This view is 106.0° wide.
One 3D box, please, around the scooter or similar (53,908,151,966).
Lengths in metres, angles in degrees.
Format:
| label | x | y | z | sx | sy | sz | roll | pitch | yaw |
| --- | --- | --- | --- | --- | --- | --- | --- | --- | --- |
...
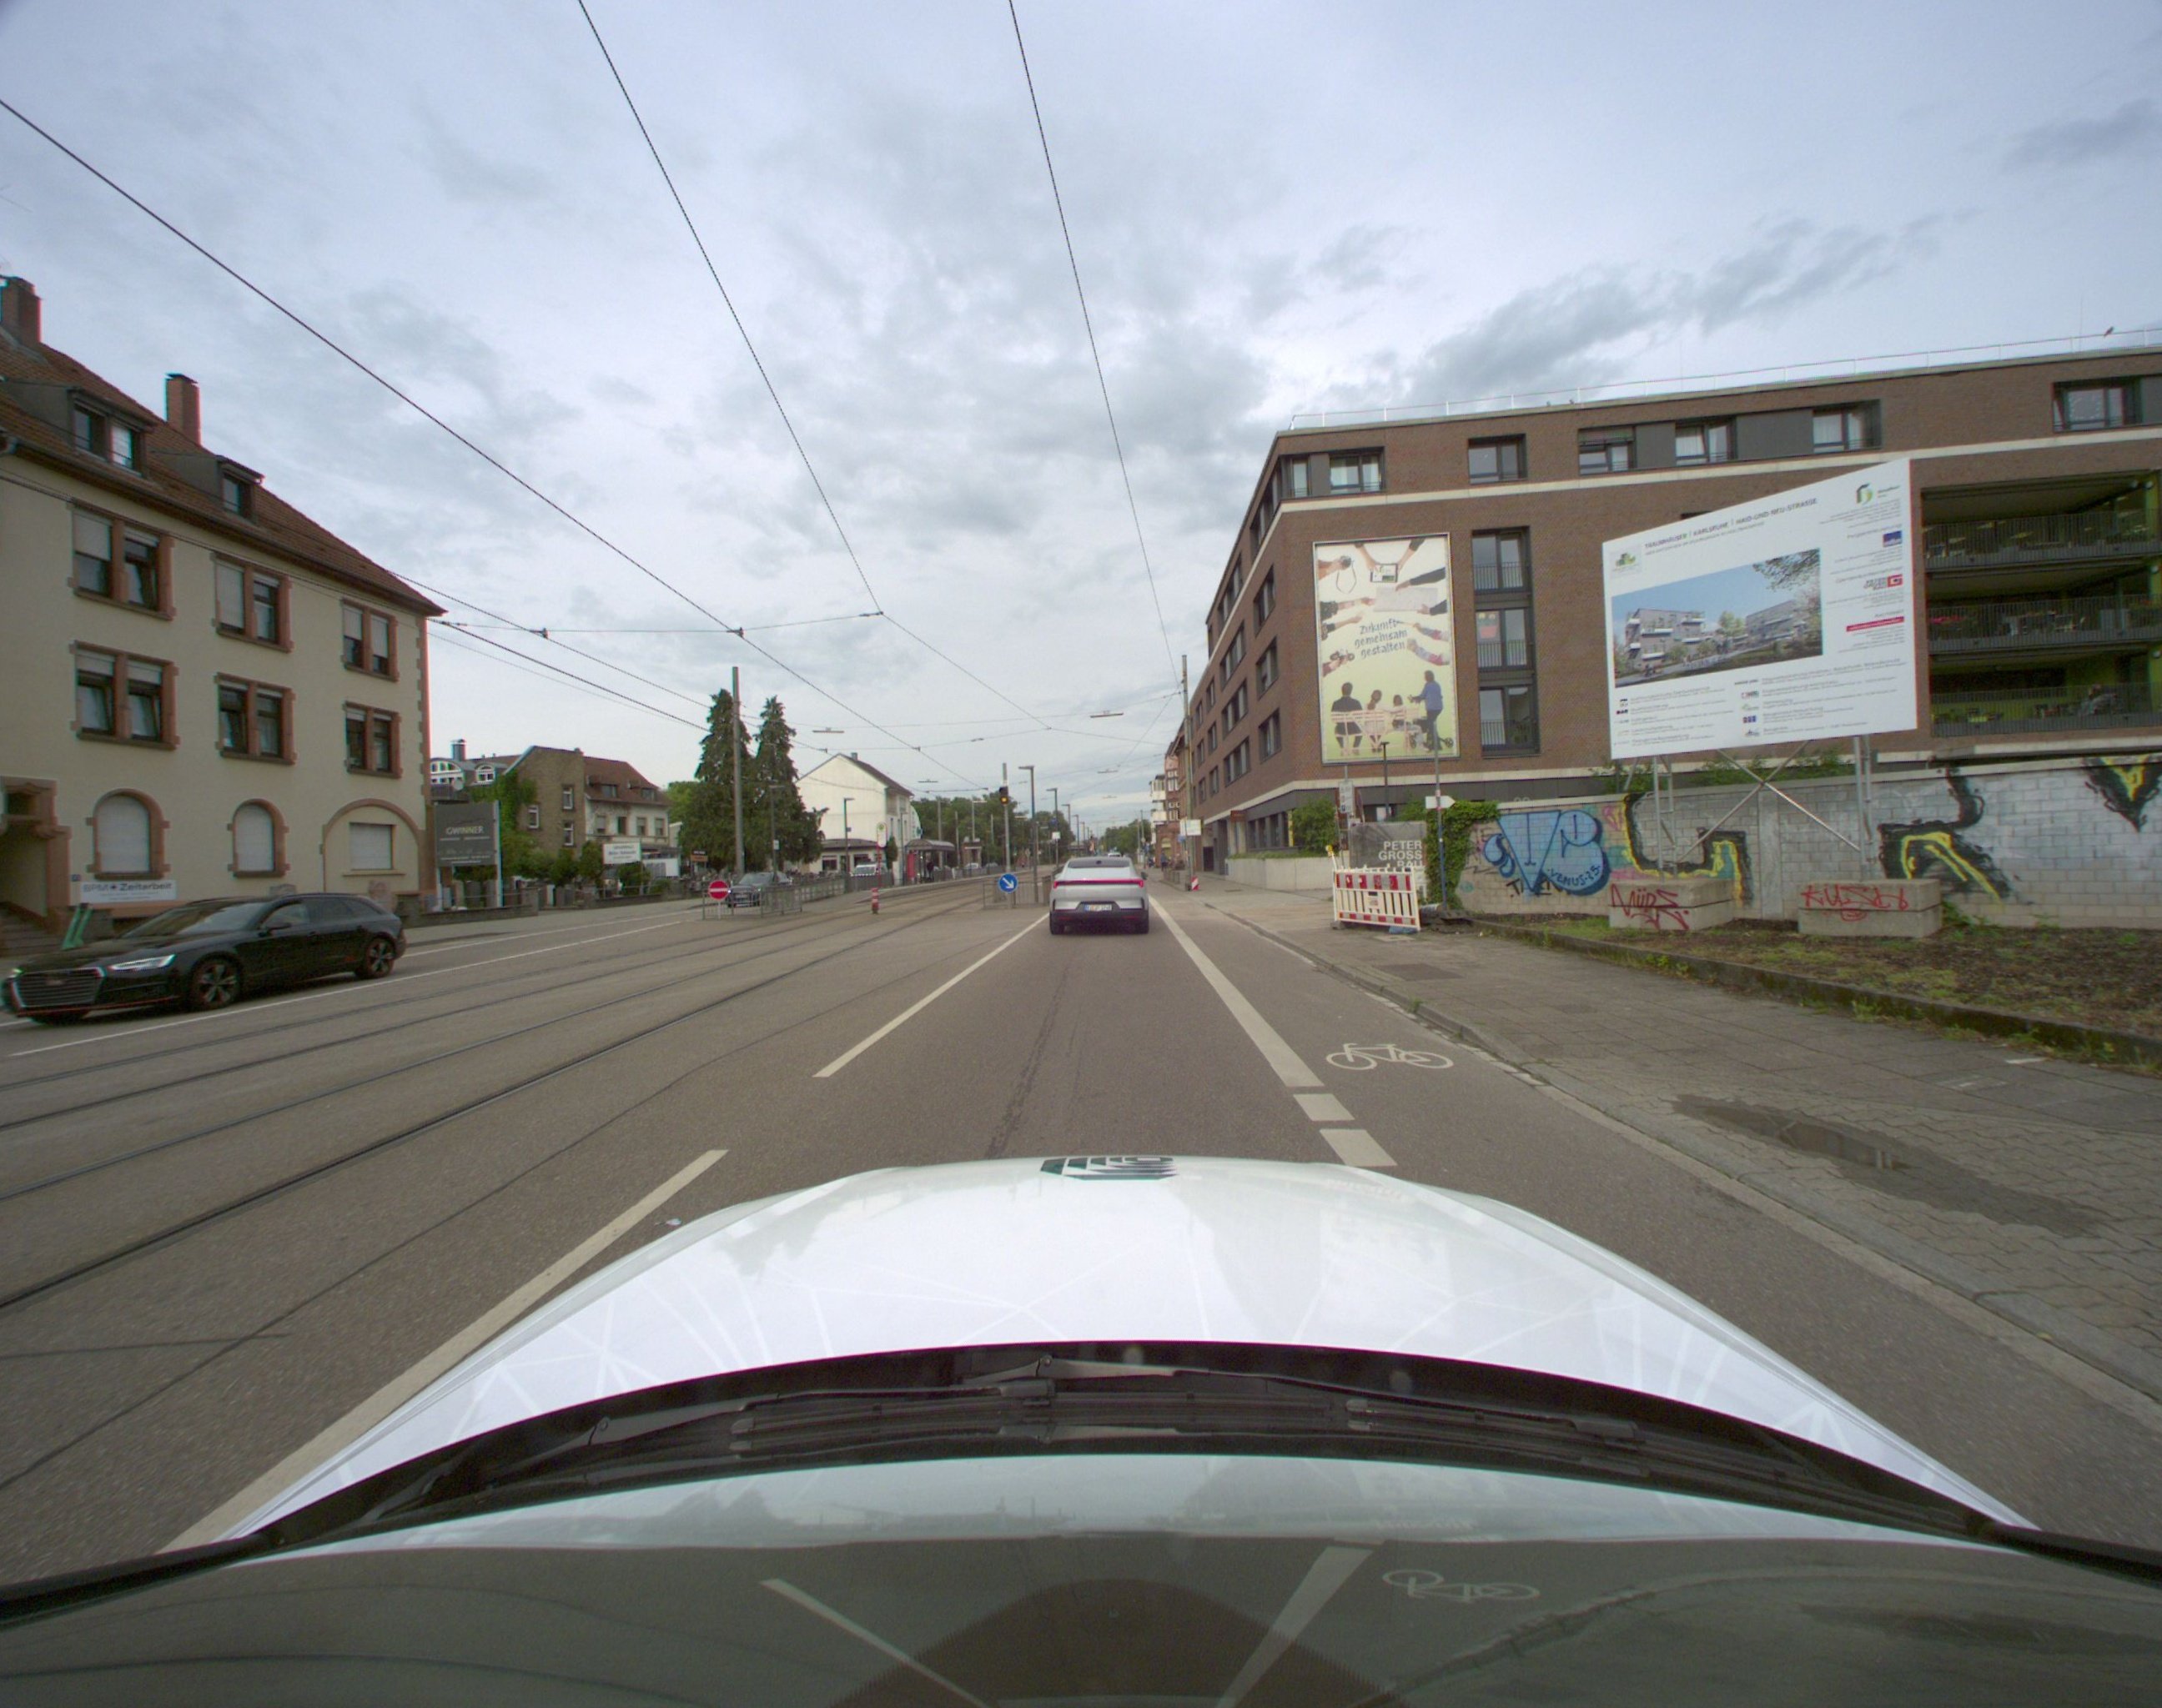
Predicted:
| label | x | y | z | sx | sy | sz | roll | pitch | yaw |
| --- | --- | --- | --- | --- | --- | --- | --- | --- | --- |
| scooter or similar | -20.258 | 1.699 | 16.874 | 1.182 | 1.102 | 0.522 | -1 | -1 | -32 |

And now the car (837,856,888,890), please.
| label | x | y | z | sx | sy | sz | roll | pitch | yaw |
| --- | --- | --- | --- | --- | --- | --- | --- | --- | --- |
| car | -13.960 | 1.175 | 52.255 | 1.878 | 1.989 | 4.525 | -3 | -1 | 1 |

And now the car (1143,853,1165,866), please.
| label | x | y | z | sx | sy | sz | roll | pitch | yaw |
| --- | --- | --- | --- | --- | --- | --- | --- | --- | --- |
| car | 11.715 | 0.907 | 129.770 | 1.974 | 2.014 | 4.025 | -2 | -1 | 29 |

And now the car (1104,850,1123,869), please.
| label | x | y | z | sx | sy | sz | roll | pitch | yaw |
| --- | --- | --- | --- | --- | --- | --- | --- | --- | --- |
| car | 4.313 | 0.756 | 108.113 | 2.219 | 2.402 | 5.120 | -1 | -1 | -1 |

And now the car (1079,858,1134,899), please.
| label | x | y | z | sx | sy | sz | roll | pitch | yaw |
| --- | --- | --- | --- | --- | --- | --- | --- | --- | --- |
| car | 1.003 | 0.907 | 32.259 | 1.986 | 1.420 | 4.001 | -3 | 0 | 1 |

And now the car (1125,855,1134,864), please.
| label | x | y | z | sx | sy | sz | roll | pitch | yaw |
| --- | --- | --- | --- | --- | --- | --- | --- | --- | --- |
| car | 14.287 | 1.527 | 240.101 | 2.796 | 2.505 | 5.725 | -1 | -1 | 2 |

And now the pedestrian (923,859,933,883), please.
| label | x | y | z | sx | sy | sz | roll | pitch | yaw |
| --- | --- | --- | --- | --- | --- | --- | --- | --- | --- |
| pedestrian | -10.590 | 1.163 | 56.410 | 0.616 | 1.664 | 0.694 | -1 | -1 | -15 |

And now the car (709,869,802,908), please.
| label | x | y | z | sx | sy | sz | roll | pitch | yaw |
| --- | --- | --- | --- | --- | --- | --- | --- | --- | --- |
| car | -13.986 | 1.441 | 35.313 | 1.873 | 1.428 | 4.430 | -3 | -1 | 5 |

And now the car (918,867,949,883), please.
| label | x | y | z | sx | sy | sz | roll | pitch | yaw |
| --- | --- | --- | --- | --- | --- | --- | --- | --- | --- |
| car | -13.012 | 1.843 | 72.050 | 1.742 | 1.299 | 3.837 | -3 | -1 | 4 |

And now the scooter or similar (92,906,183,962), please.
| label | x | y | z | sx | sy | sz | roll | pitch | yaw |
| --- | --- | --- | --- | --- | --- | --- | --- | --- | --- |
| scooter or similar | -20.466 | 1.715 | 17.685 | 1.182 | 1.102 | 0.522 | -1 | -1 | -32 |

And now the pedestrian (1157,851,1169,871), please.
| label | x | y | z | sx | sy | sz | roll | pitch | yaw |
| --- | --- | --- | --- | --- | --- | --- | --- | --- | --- |
| pedestrian | 8.060 | 0.701 | 80.137 | 0.955 | 1.850 | 0.978 | -4 | 0 | 8 |

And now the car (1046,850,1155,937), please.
| label | x | y | z | sx | sy | sz | roll | pitch | yaw |
| --- | --- | --- | --- | --- | --- | --- | --- | --- | --- |
| car | 0.302 | 0.770 | 17.140 | 1.994 | 1.581 | 3.996 | -1 | -1 | -2 |

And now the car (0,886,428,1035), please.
| label | x | y | z | sx | sy | sz | roll | pitch | yaw |
| --- | --- | --- | --- | --- | --- | --- | --- | --- | --- |
| car | -11.998 | 1.307 | 11.650 | 1.904 | 1.473 | 4.805 | -3 | -1 | -9 |

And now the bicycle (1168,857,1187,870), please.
| label | x | y | z | sx | sy | sz | roll | pitch | yaw |
| --- | --- | --- | --- | --- | --- | --- | --- | --- | --- |
| bicycle | 9.546 | 0.929 | 80.780 | 1.771 | 1.129 | 0.642 | -5 | 0 | 1 |

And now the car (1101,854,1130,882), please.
| label | x | y | z | sx | sy | sz | roll | pitch | yaw |
| --- | --- | --- | --- | --- | --- | --- | --- | --- | --- |
| car | 2.183 | 0.869 | 50.864 | 1.674 | 1.687 | 3.826 | -1 | -1 | 3 |
